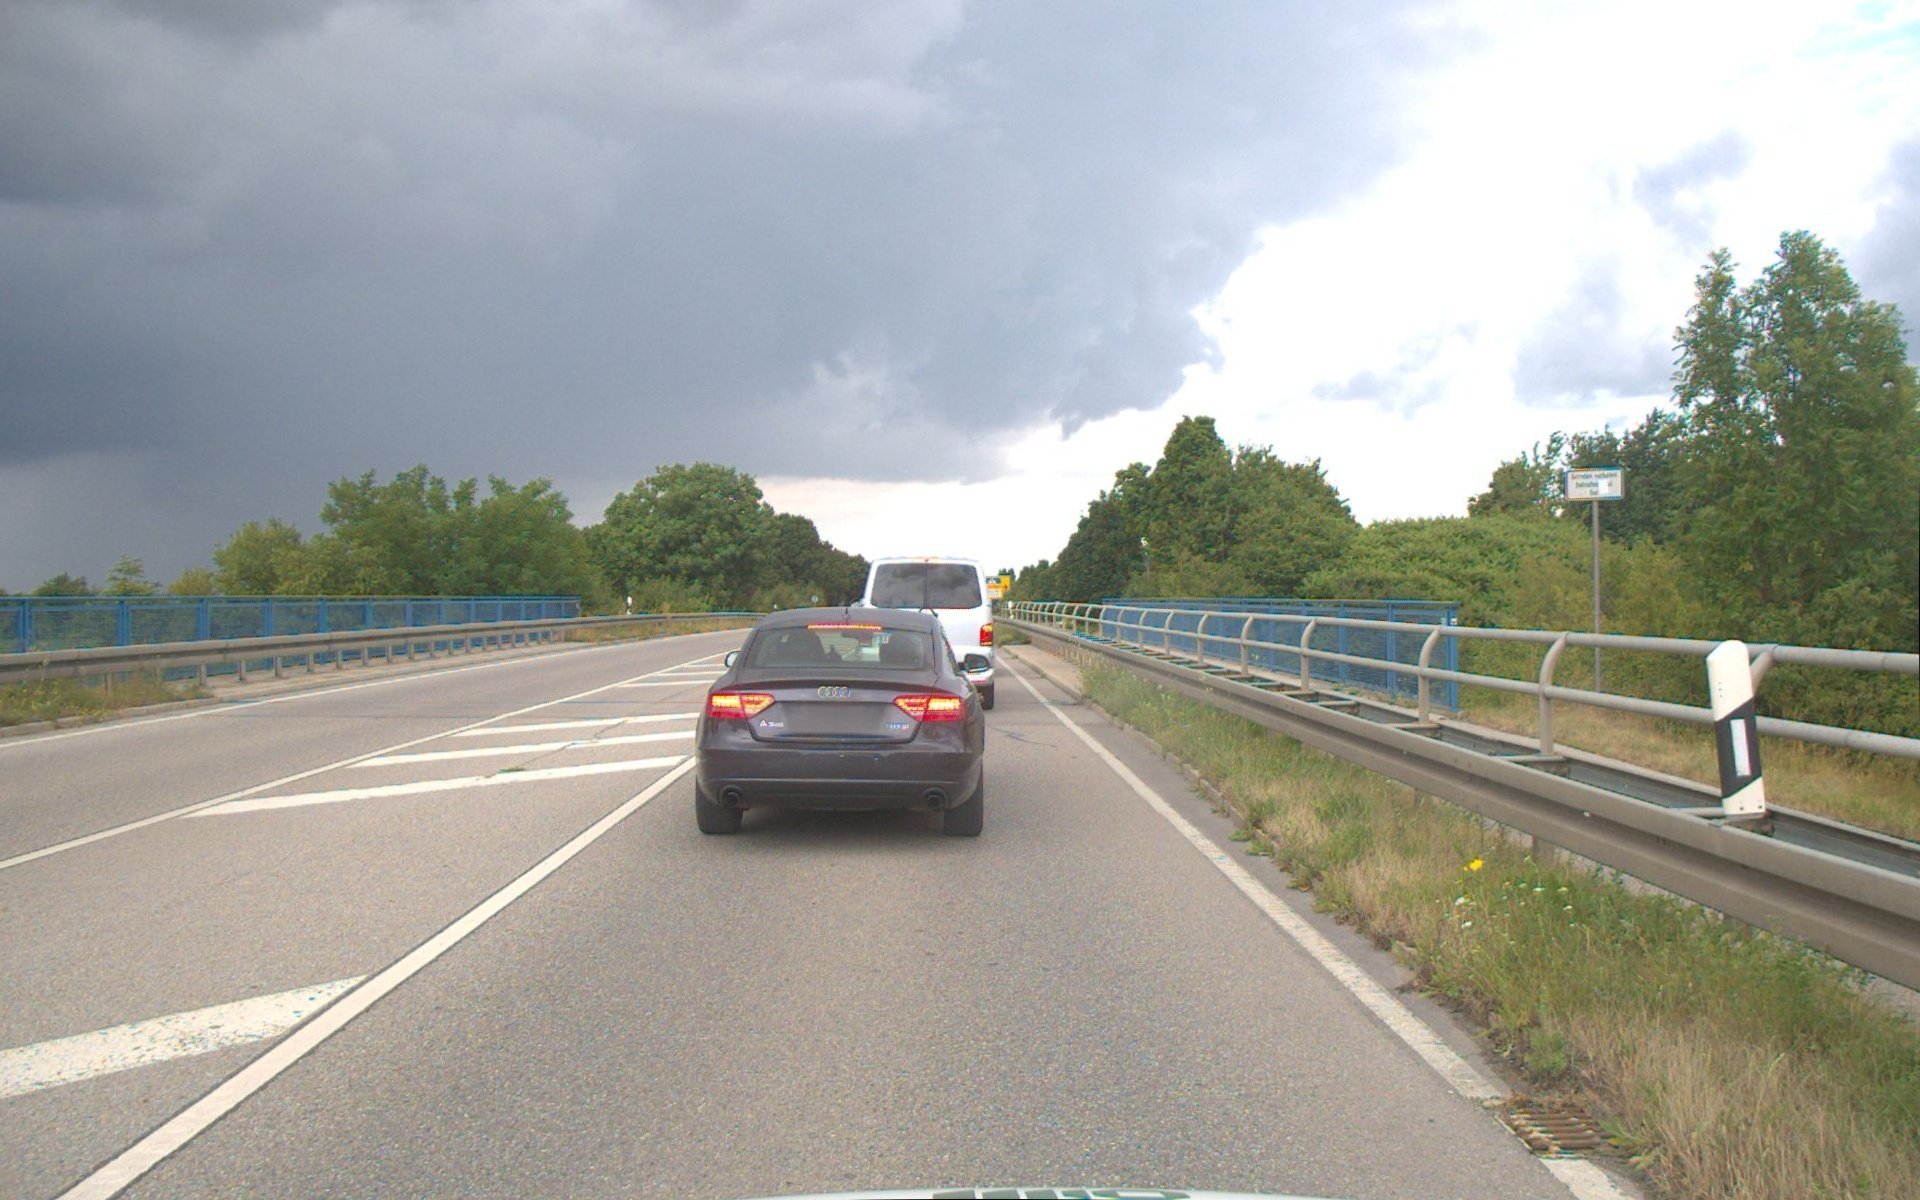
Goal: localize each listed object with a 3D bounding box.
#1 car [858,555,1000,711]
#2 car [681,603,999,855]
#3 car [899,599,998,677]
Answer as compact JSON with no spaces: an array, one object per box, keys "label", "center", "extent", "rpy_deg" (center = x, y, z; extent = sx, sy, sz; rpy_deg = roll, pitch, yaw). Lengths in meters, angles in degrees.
[{"label":"car","center":[-0.433,0.415,22.944],"extent":[1.791,1.969,3.999],"rpy_deg":[0,0,-1]},{"label":"car","center":[-0.674,0.732,11.375],"extent":[1.784,1.405,4.071],"rpy_deg":[0,0,0]},{"label":"car","center":[-0.209,0.685,32.042],"extent":[1.784,1.405,4.071],"rpy_deg":[0,0,0]}]
